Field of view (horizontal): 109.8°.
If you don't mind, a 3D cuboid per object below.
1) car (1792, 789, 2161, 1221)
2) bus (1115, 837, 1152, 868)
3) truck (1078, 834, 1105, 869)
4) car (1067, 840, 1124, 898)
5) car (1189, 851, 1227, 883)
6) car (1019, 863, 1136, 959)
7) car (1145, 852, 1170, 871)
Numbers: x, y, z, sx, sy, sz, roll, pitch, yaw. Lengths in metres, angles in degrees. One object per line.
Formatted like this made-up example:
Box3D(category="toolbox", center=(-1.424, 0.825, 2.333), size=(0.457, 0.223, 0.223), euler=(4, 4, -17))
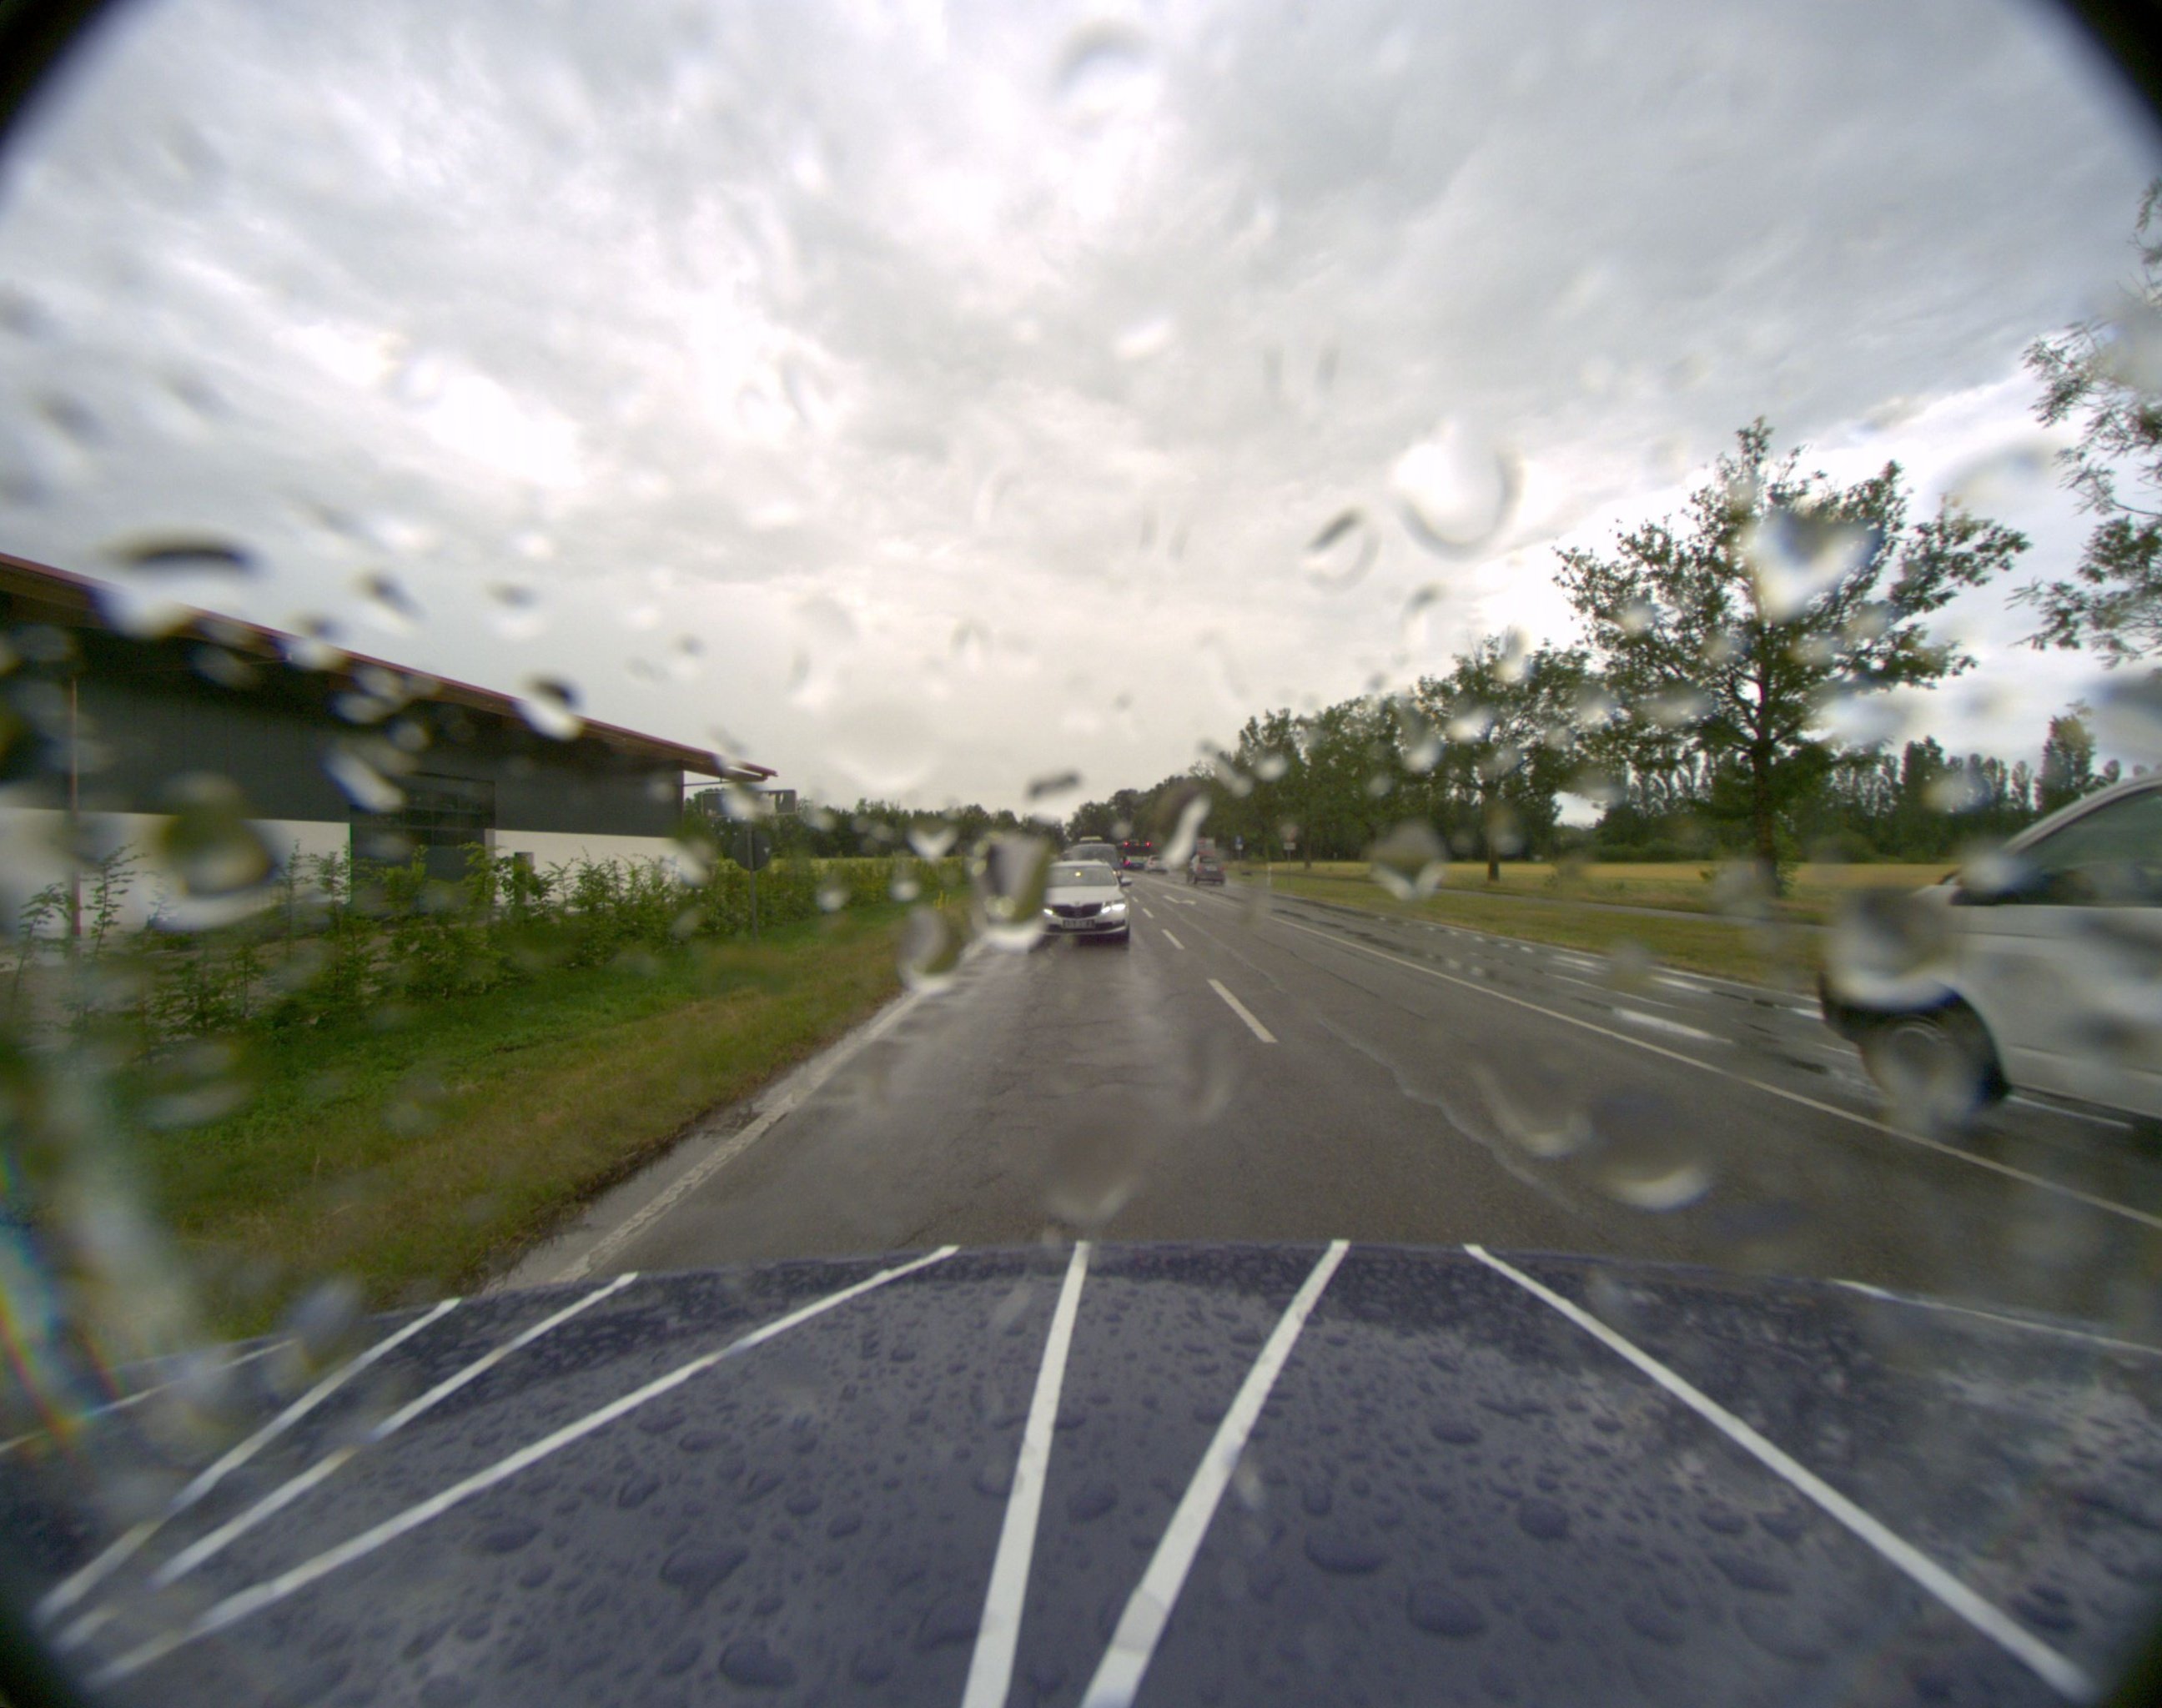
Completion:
Box3D(category="car", center=(5.602, 0.674, 2.599), size=(1.921, 1.851, 4.684), euler=(1, 1, 1))
Box3D(category="bus", center=(5.397, -0.210, 79.739), size=(2.958, 2.895, 12.473), euler=(0, 1, 0))
Box3D(category="truck", center=(1.288, -0.334, 89.645), size=(2.931, 3.828, 14.119), euler=(0, 0, 1))
Box3D(category="car", center=(0.516, 0.492, 27.541), size=(1.892, 1.939, 4.000), euler=(0, 1, 1))
Box3D(category="car", center=(6.518, 0.620, 39.257), size=(1.504, 1.521, 3.301), euler=(2, 1, 2))
Box3D(category="car", center=(-0.028, 0.957, 14.604), size=(1.843, 1.379, 4.569), euler=(-2, 1, 1))
Box3D(category="car", center=(6.120, 0.587, 60.775), size=(1.672, 1.442, 3.461), euler=(1, 0, 1))
